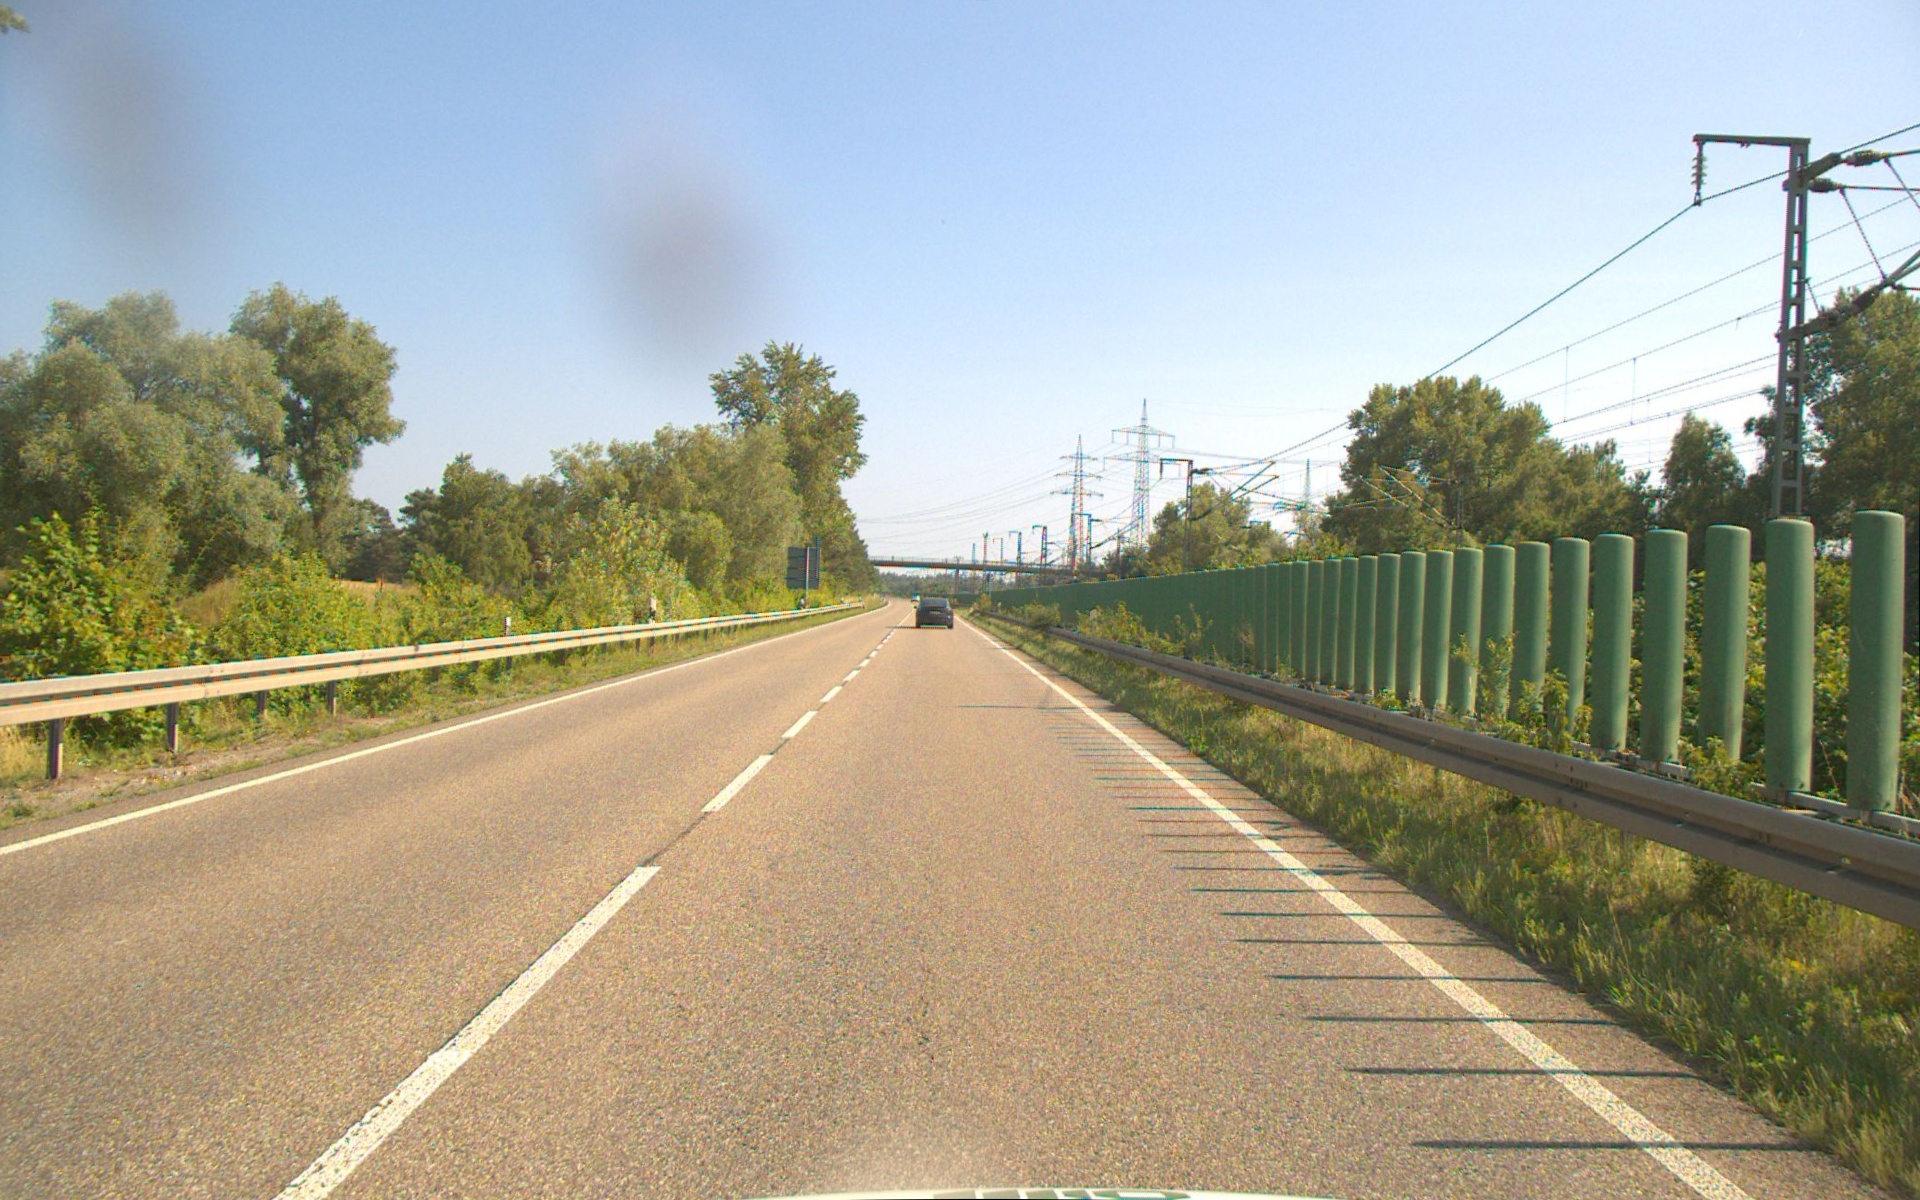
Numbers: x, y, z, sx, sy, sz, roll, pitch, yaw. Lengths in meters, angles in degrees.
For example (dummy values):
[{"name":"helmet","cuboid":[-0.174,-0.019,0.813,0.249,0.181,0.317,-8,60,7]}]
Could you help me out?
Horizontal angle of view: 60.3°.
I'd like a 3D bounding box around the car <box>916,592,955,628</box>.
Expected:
[{"name":"car","cuboid":[-1.205,0.454,79.519,1.821,1.670,3.999,1,0,-2]}]
